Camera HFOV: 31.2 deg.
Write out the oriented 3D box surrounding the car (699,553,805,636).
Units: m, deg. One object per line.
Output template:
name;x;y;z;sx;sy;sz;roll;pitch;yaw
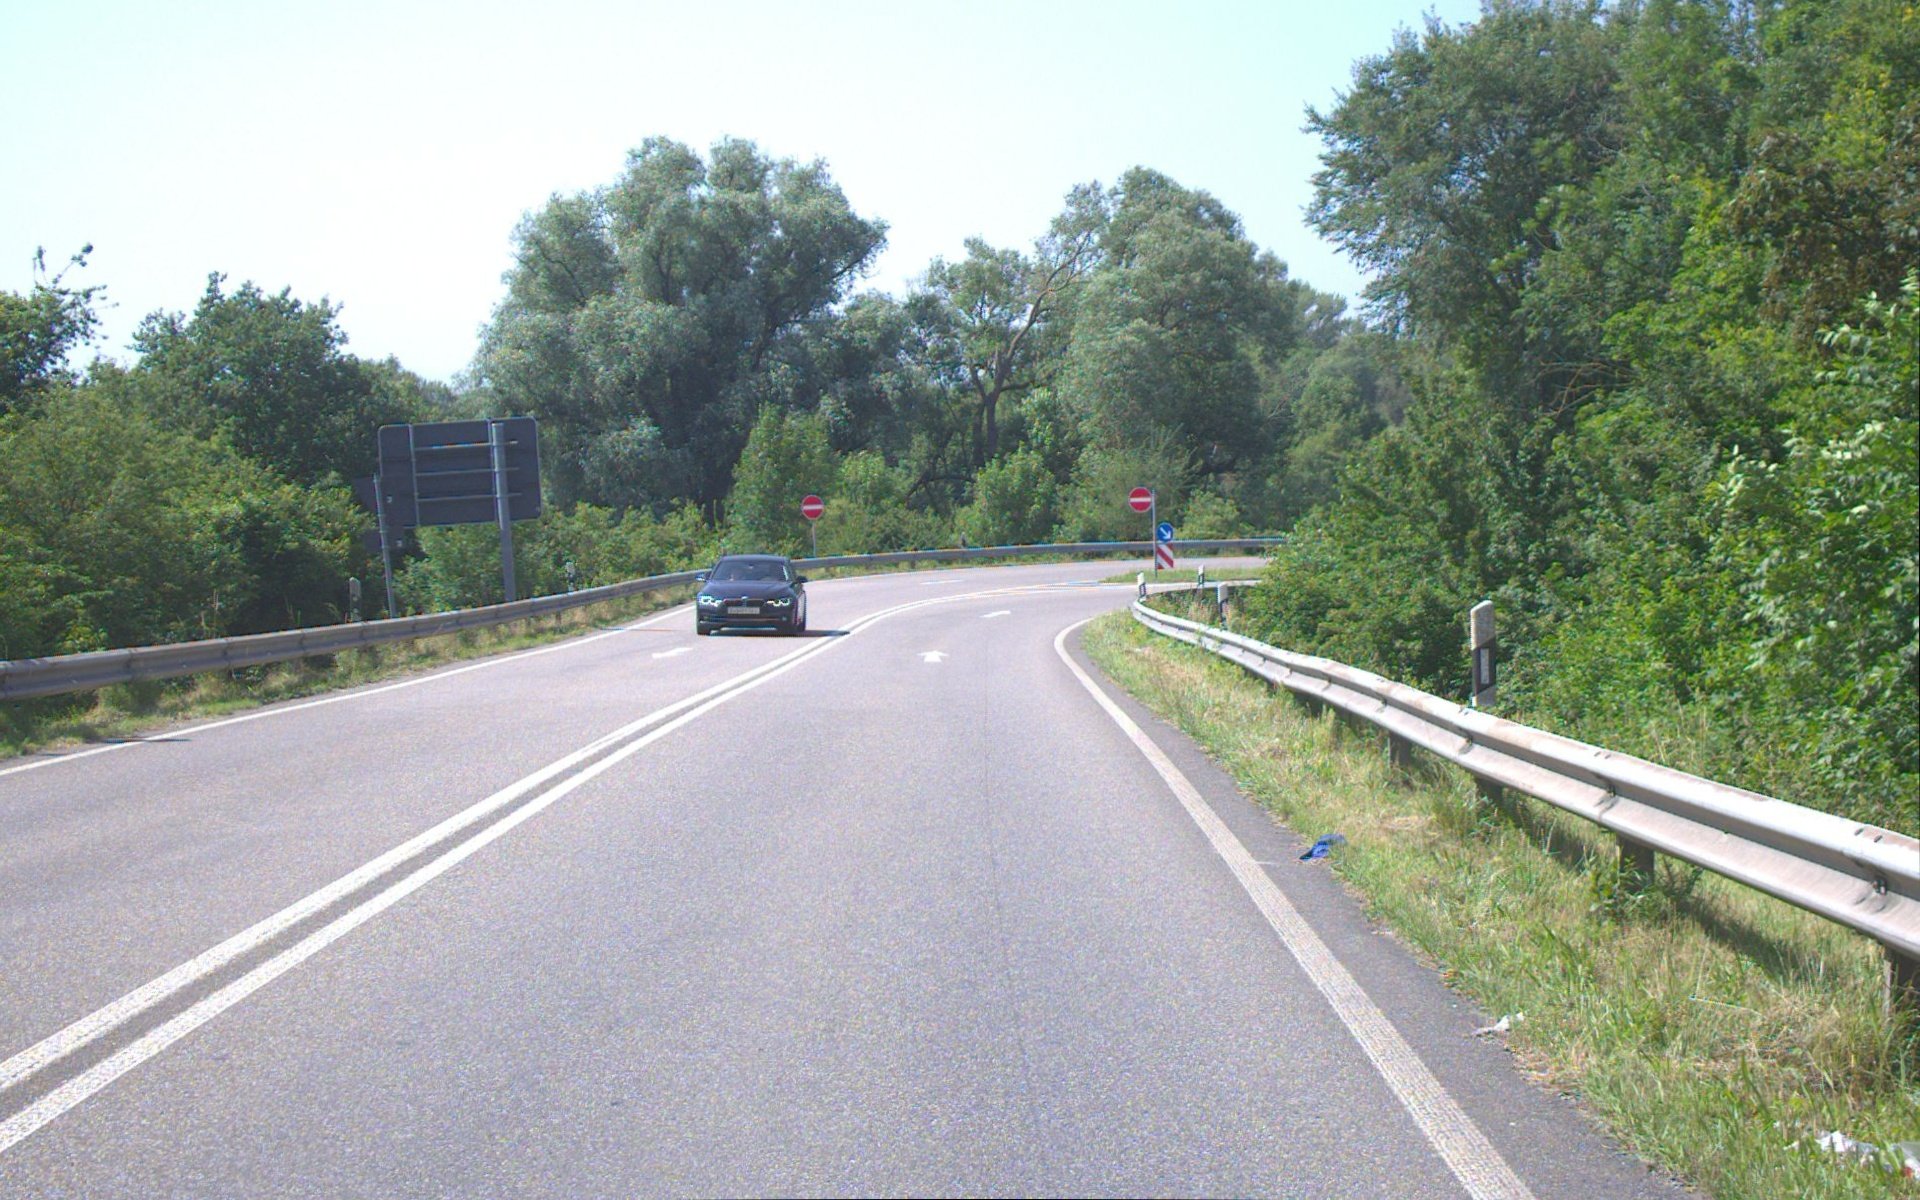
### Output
car;-3.767;-0.119;62.713;1.607;1.468;4.220;0;1;1
